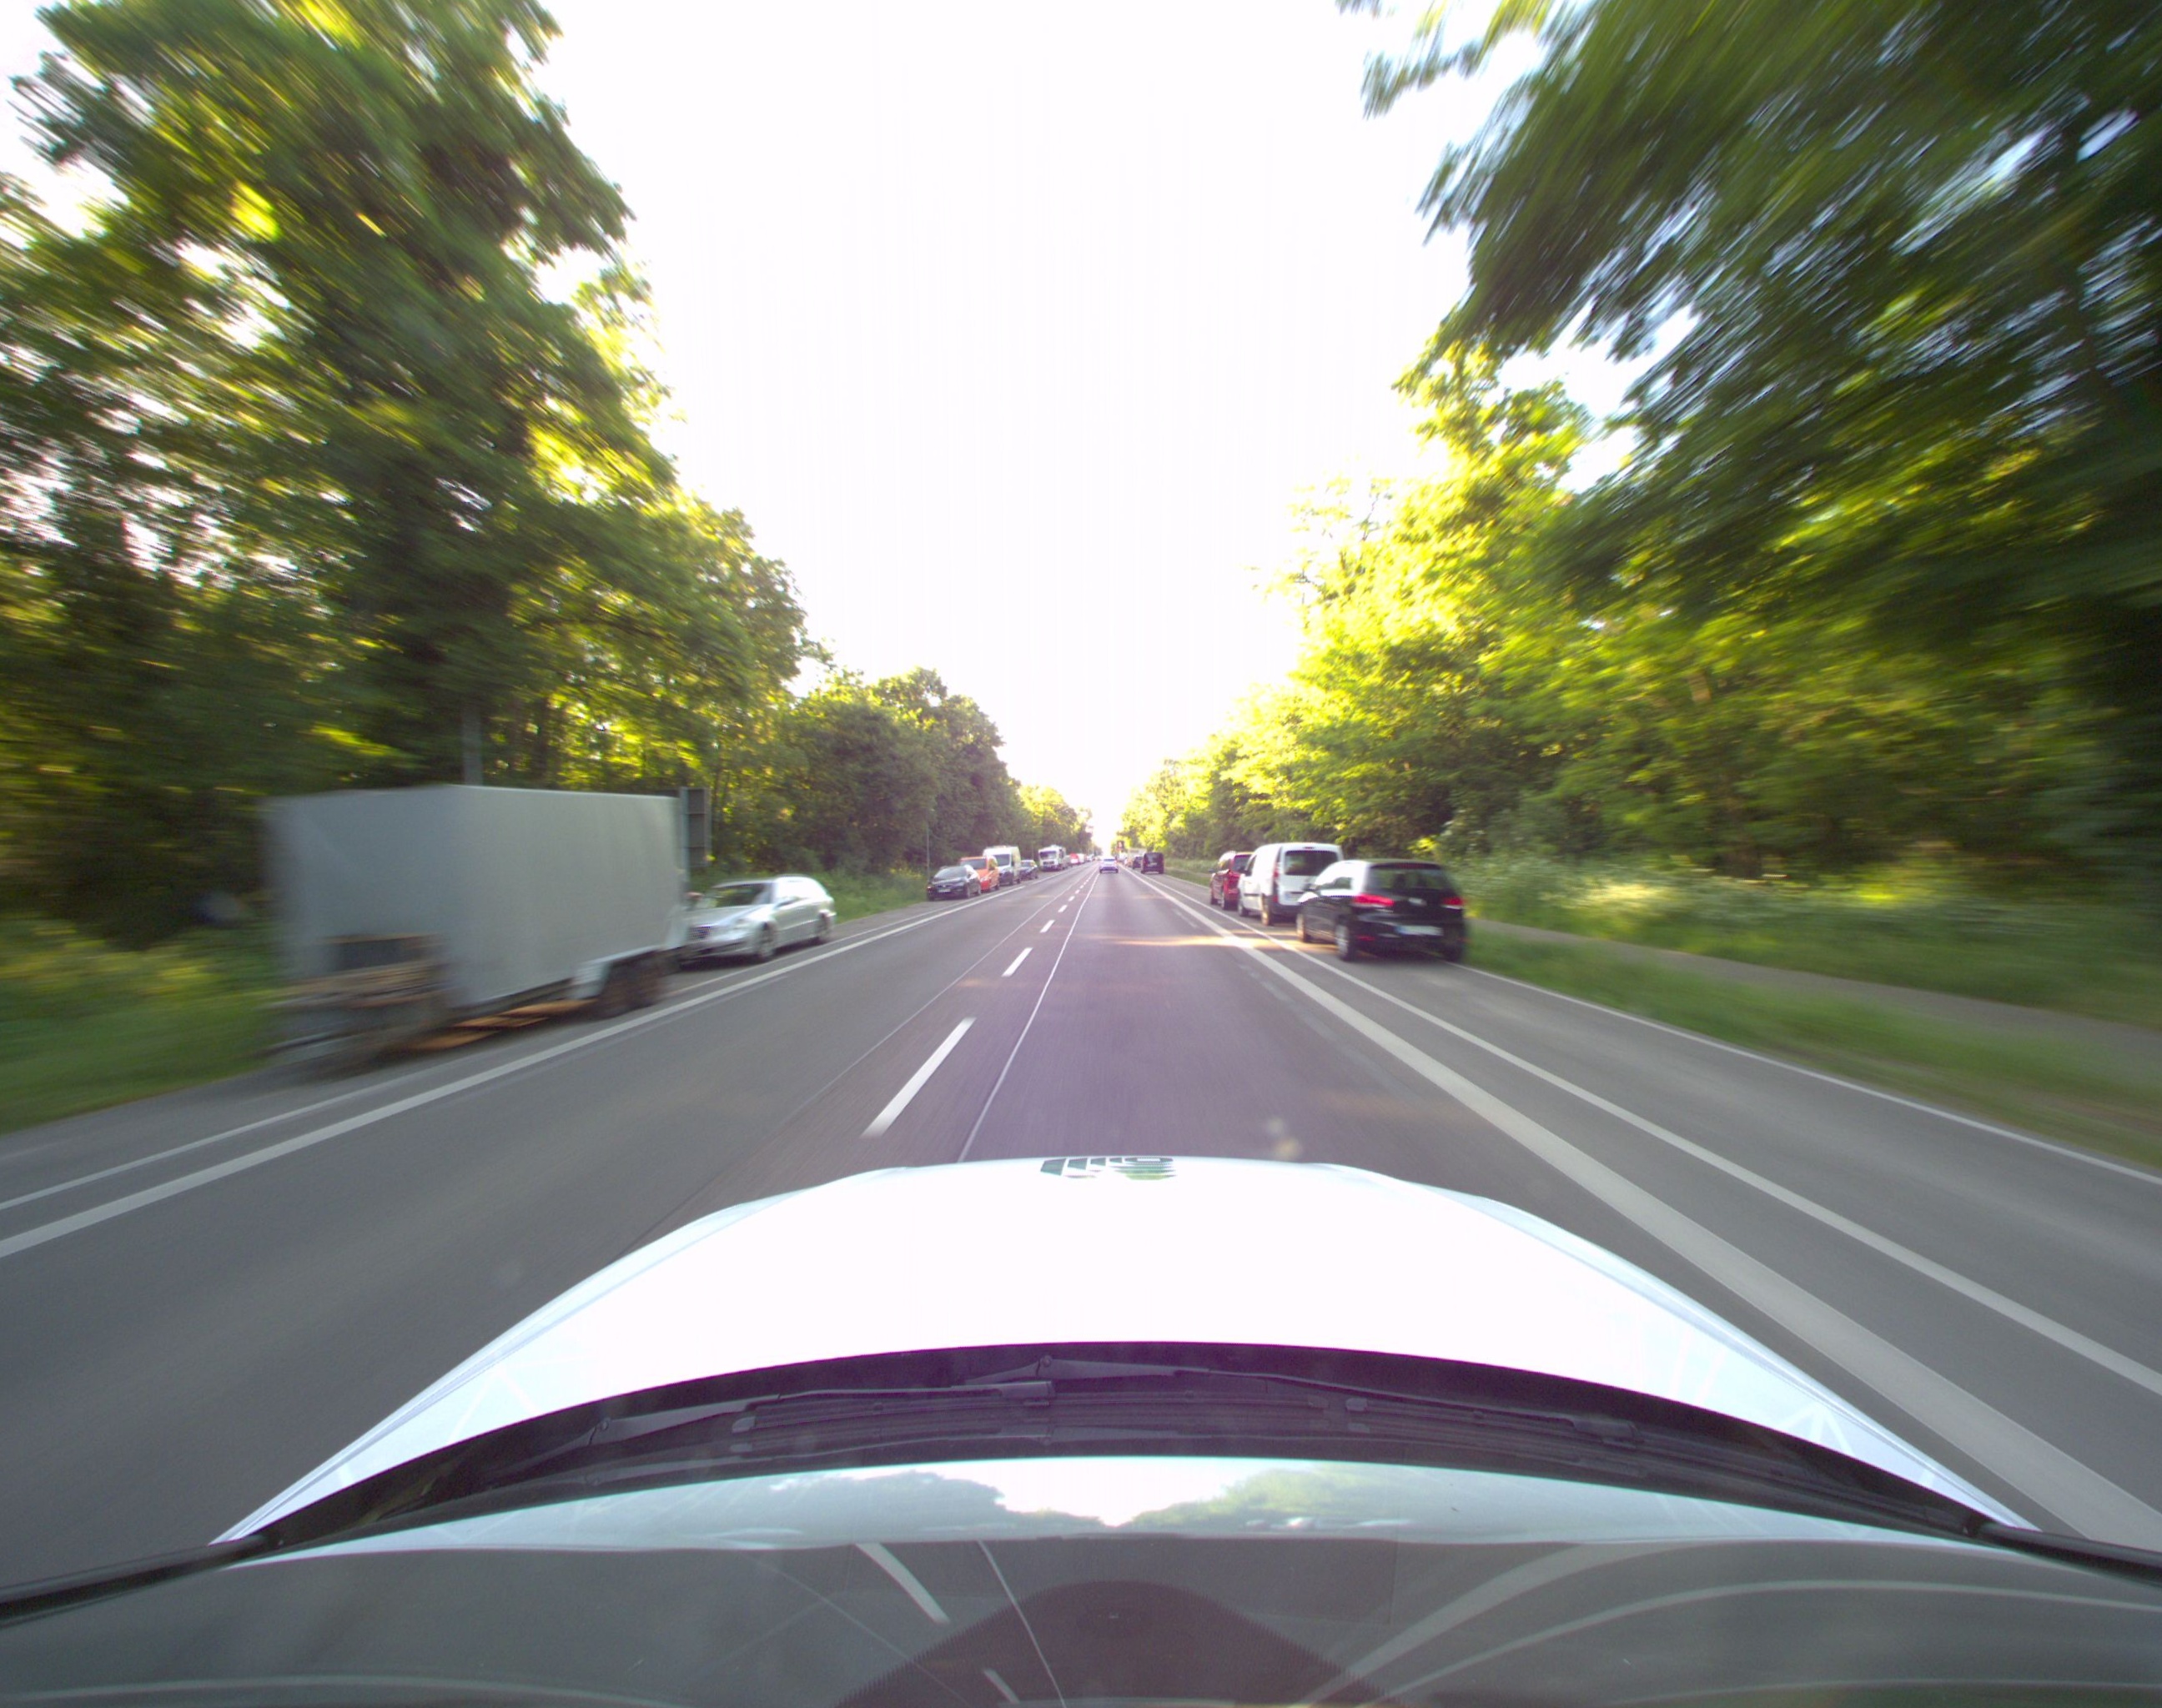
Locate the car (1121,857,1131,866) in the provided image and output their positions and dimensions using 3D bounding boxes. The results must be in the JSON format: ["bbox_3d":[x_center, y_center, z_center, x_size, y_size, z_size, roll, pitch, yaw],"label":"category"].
[{"bbox_3d":[8.454,1.393,153.611,1.649,1.478,3.755,-2,0,2],"label":"car"}]

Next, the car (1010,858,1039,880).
[{"bbox_3d":[-4.522,1.173,65.335,1.774,1.684,4.380,-3,0,2],"label":"car"}]

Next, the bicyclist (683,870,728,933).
[{"bbox_3d":[-8.511,1.053,18.477,0.602,1.374,0.799,-1,0,2],"label":"bicyclist"}]

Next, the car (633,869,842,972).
[{"bbox_3d":[-6.084,1.089,15.126,1.791,1.453,4.625,-3,0,1],"label":"car"}]

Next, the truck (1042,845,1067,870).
[{"bbox_3d":[-3.612,0.492,113.478,2.697,3.347,10.928,-1,0,2],"label":"truck"}]

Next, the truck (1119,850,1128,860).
[{"bbox_3d":[10.802,0.331,208.589,2.089,2.452,5.682,-2,0,2],"label":"truck"}]

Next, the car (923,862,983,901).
[{"bbox_3d":[-5.593,1.170,35.955,1.725,1.478,4.326,-3,0,2],"label":"car"}]

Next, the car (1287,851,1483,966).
[{"bbox_3d":[4.559,0.730,12.883,1.683,1.524,4.151,0,0,2],"label":"car"}]

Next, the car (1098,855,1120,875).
[{"bbox_3d":[2.682,1.055,78.318,2.021,1.840,4.031,-2,0,2],"label":"car"}]

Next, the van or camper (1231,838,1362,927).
[{"bbox_3d":[4.892,0.595,19.132,1.944,1.815,4.381,-1,0,1],"label":"van or camper"}]

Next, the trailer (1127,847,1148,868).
[{"bbox_3d":[8.099,0.488,117.579,2.747,2.870,6.591,-2,0,2],"label":"trailer"}]

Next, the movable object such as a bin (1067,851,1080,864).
[{"bbox_3d":[-1.511,0.724,161.044,2.313,2.502,4.002,-2,0,2],"label":"movable object such as a bin"}]

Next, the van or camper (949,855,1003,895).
[{"bbox_3d":[-5.378,1.034,42.457,1.915,1.867,4.865,-3,0,2],"label":"van or camper"}]

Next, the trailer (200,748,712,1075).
[{"bbox_3d":[-6.207,0.487,8.978,1.986,2.597,4.417,-4,0,2],"label":"trailer"}]

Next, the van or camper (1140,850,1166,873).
[{"bbox_3d":[6.390,0.669,72.810,1.986,1.932,5.201,0,0,2],"label":"van or camper"}]

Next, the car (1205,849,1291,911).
[{"bbox_3d":[4.865,0.708,24.287,1.827,1.660,4.340,0,0,2],"label":"car"}]

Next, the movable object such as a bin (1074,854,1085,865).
[{"bbox_3d":[-0.372,1.361,198.120,2.313,2.502,4.002,-2,0,2],"label":"movable object such as a bin"}]

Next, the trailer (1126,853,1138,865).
[{"bbox_3d":[8.769,0.924,140.258,1.986,1.970,4.002,-2,0,2],"label":"trailer"}]

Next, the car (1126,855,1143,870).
[{"bbox_3d":[6.243,0.991,95.686,1.834,1.662,4.002,-1,0,2],"label":"car"}]

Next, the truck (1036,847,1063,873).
[{"bbox_3d":[-3.878,0.696,101.863,2.697,3.093,7.993,-1,0,2],"label":"truck"}]

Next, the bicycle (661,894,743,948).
[{"bbox_3d":[-8.526,1.478,18.440,0.649,1.008,2.397,-1,0,2],"label":"bicycle"}]

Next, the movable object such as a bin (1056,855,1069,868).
[{"bbox_3d":[-3.049,1.257,136.692,1.946,2.013,4.002,-2,0,2],"label":"movable object such as a bin"}]

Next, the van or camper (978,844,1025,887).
[{"bbox_3d":[-5.121,0.690,53.413,2.112,2.572,6.545,-2,0,2],"label":"van or camper"}]

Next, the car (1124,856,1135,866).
[{"bbox_3d":[7.968,1.121,133.587,1.726,1.684,4.002,-2,0,2],"label":"car"}]

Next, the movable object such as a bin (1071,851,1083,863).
[{"bbox_3d":[-0.917,0.609,175.525,2.313,2.502,4.002,-2,0,2],"label":"movable object such as a bin"}]
